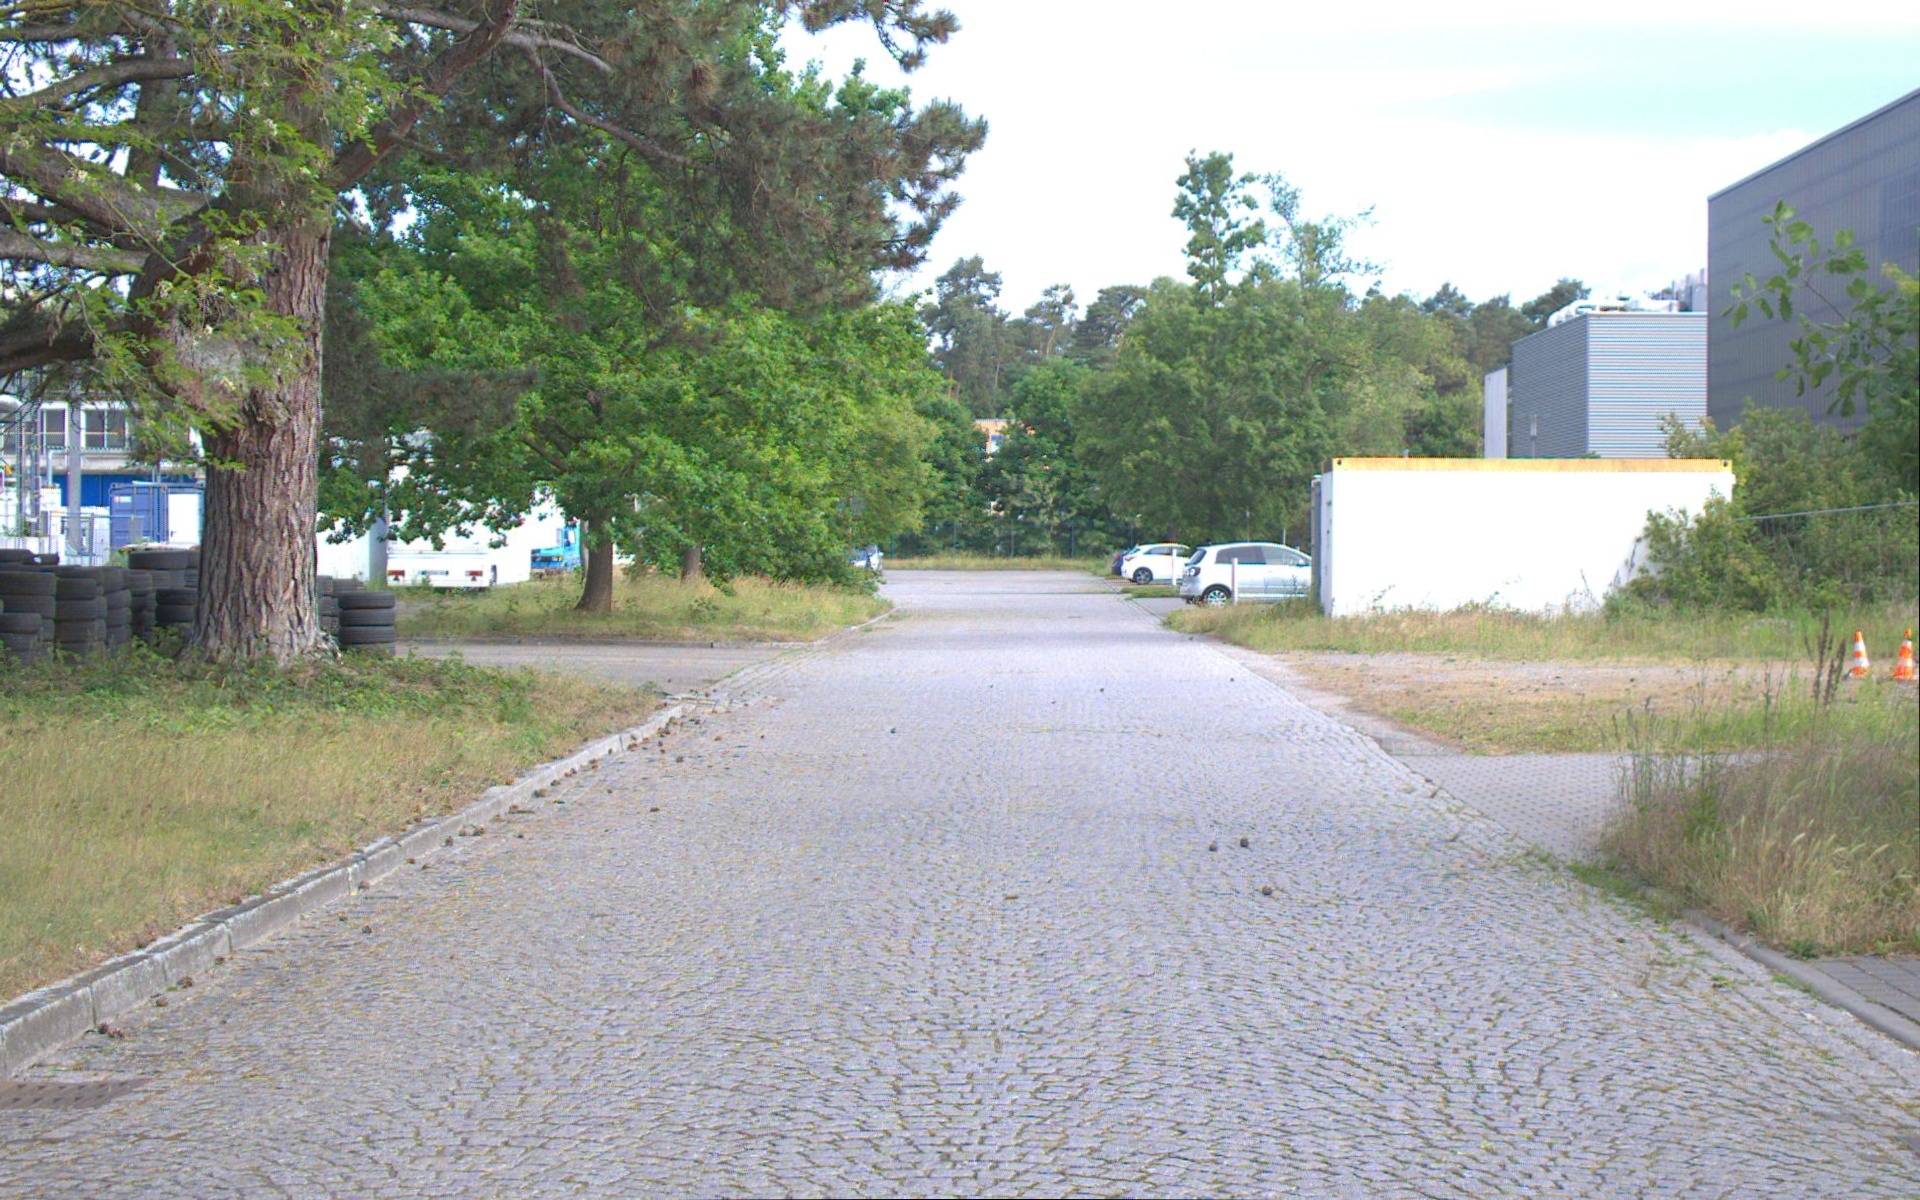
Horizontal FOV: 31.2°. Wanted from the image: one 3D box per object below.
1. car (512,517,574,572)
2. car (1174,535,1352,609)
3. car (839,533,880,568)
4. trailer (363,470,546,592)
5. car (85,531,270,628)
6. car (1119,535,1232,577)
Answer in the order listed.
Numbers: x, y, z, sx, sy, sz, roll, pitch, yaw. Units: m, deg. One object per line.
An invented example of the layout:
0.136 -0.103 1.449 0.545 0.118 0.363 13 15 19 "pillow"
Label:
-15.982 -2.134 132.000 1.925 2.040 4.601 0 1 -1 "car"
6.852 -0.645 78.065 3.849 1.649 1.686 0 1 -1 "car"
-4.449 -2.203 152.899 1.803 1.529 4.000 0 1 -1 "car"
-13.288 -1.831 91.191 3.159 3.057 8.783 0 1 3 "trailer"
-12.186 -0.339 53.721 1.767 1.448 3.487 0 1 7 "car"
7.757 -1.593 124.200 4.025 1.496 1.548 0 1 2 "car"
